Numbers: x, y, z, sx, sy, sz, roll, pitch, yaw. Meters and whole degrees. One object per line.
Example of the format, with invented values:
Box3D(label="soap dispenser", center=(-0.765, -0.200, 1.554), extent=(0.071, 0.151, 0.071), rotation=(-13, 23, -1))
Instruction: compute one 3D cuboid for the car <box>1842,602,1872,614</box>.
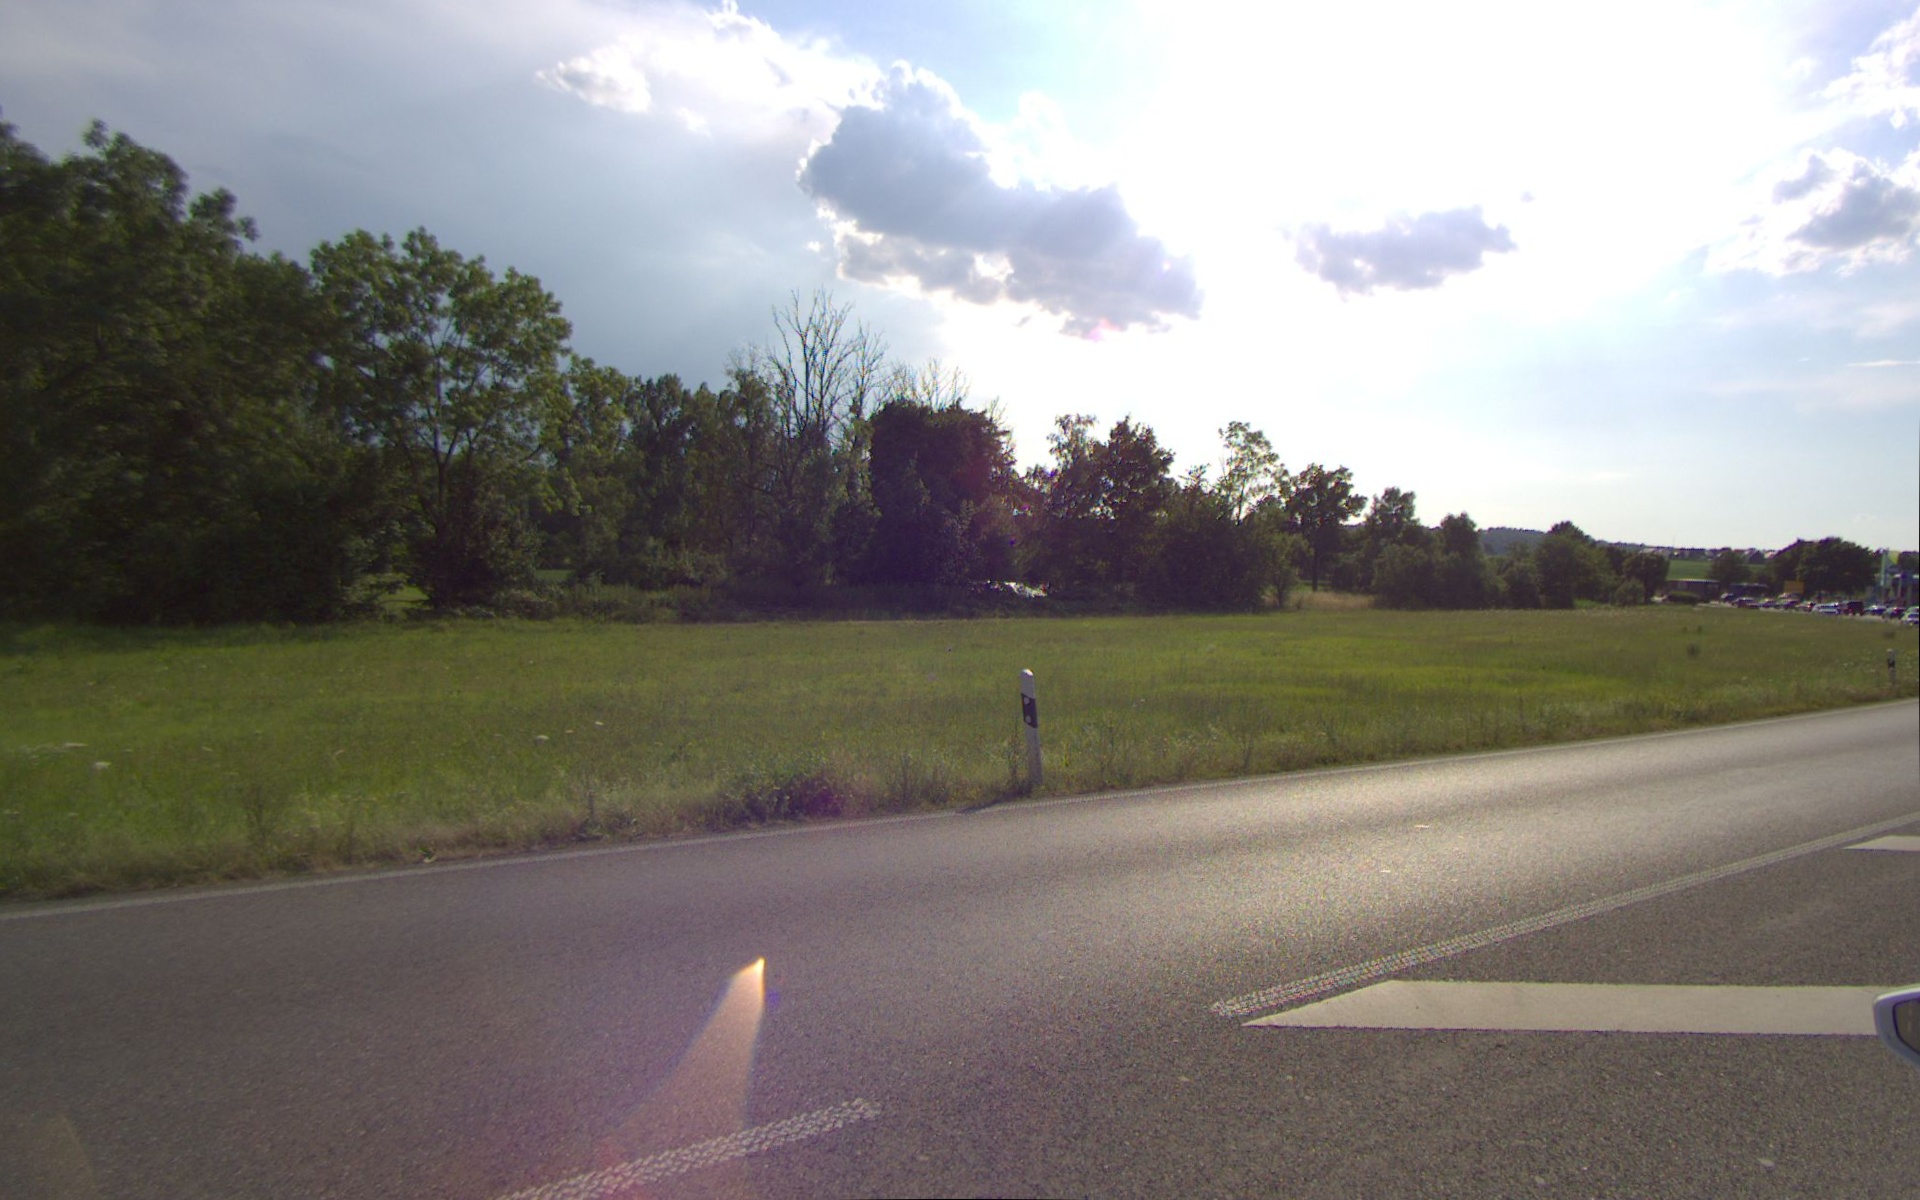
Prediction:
Box3D(label="car", center=(120.542, 1.048, 135.010), extent=(2.054, 1.621, 3.994), rotation=(2, 1, 28))

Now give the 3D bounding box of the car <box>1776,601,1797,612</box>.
Box3D(label="car", center=(129.930, 1.009, 157.947), extent=(1.853, 1.621, 3.993), rotation=(2, 1, 28))

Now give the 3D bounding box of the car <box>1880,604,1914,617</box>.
Box3D(label="car", center=(116.360, 1.303, 124.762), extent=(2.054, 1.621, 3.993), rotation=(2, 1, 29))

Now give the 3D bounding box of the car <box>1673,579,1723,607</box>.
Box3D(label="car", center=(139.254, -1.298, 189.821), extent=(3.482, 5.127, 13.244), rotation=(2, 1, 18))

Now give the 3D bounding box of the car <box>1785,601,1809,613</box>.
Box3D(label="car", center=(126.993, 1.050, 152.409), extent=(1.853, 1.621, 3.995), rotation=(2, 1, 27))

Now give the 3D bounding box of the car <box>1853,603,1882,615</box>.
Box3D(label="car", center=(125.261, 1.269, 138.703), extent=(1.852, 1.621, 3.996), rotation=(2, 1, 26))

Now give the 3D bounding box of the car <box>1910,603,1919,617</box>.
Box3D(label="car", center=(112.708, 1.199, 117.312), extent=(1.856, 1.621, 3.988), rotation=(2, 1, 34))

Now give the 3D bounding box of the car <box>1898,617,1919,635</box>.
Box3D(label="car", center=(92.175, 2.511, 96.996), extent=(1.817, 1.678, 3.987), rotation=(2, 0, 36))

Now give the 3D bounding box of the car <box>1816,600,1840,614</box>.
Box3D(label="car", center=(111.254, 0.956, 128.825), extent=(1.816, 1.678, 3.988), rotation=(2, 0, 35))

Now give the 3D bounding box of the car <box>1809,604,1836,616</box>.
Box3D(label="car", center=(124.597, 1.457, 145.193), extent=(2.053, 1.621, 3.994), rotation=(2, 1, 27))

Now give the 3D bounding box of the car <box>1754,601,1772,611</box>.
Box3D(label="car", center=(132.657, 0.936, 165.986), extent=(1.855, 1.621, 3.991), rotation=(2, 1, 31))
